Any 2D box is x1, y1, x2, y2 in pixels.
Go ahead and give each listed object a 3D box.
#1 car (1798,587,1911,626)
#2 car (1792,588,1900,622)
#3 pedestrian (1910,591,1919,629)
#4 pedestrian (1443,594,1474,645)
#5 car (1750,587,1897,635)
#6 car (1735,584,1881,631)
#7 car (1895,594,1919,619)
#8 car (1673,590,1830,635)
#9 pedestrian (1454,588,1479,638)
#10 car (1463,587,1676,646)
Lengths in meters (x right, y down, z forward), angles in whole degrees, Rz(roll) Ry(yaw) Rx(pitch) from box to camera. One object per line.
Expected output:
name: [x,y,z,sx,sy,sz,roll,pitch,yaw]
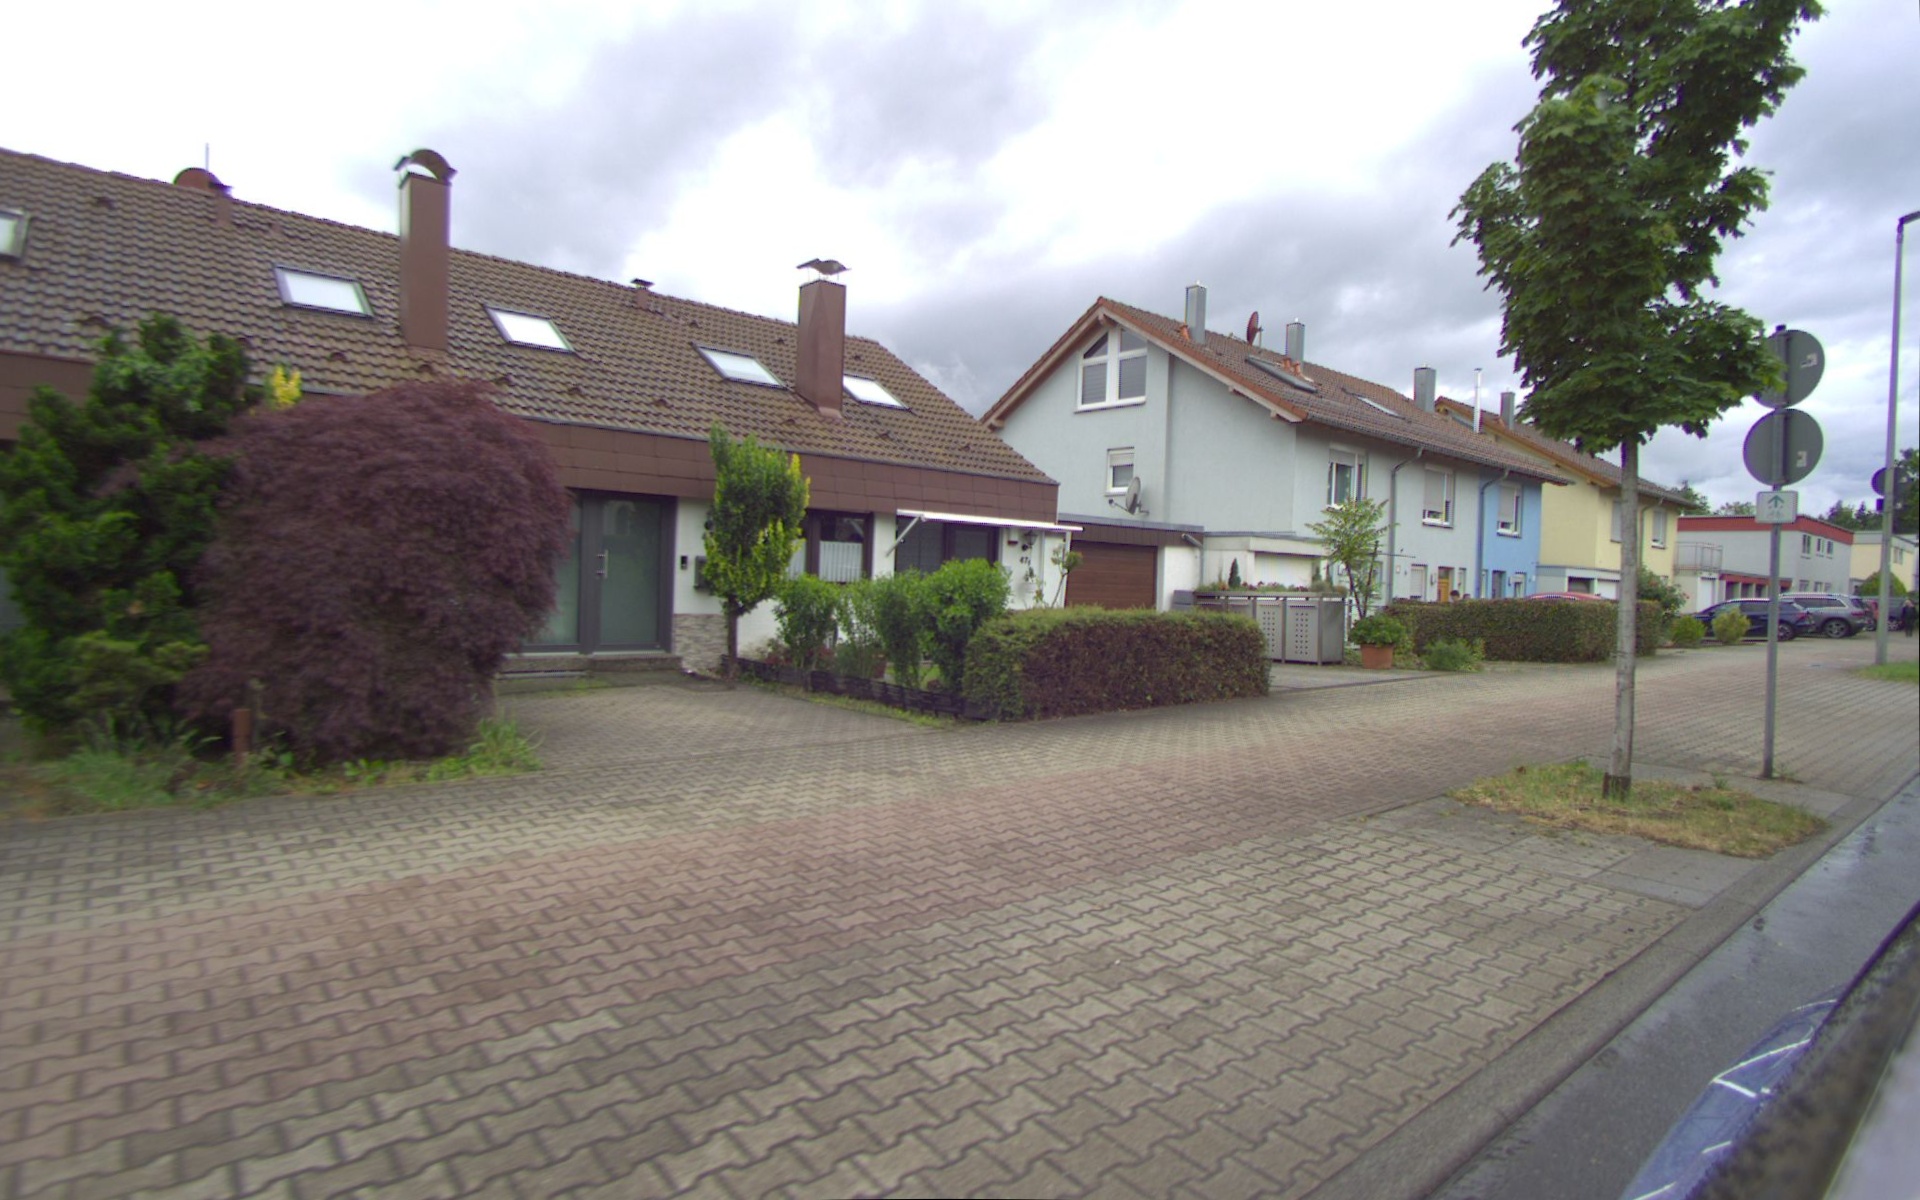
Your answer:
car: [44.218,0.268,50.080,1.891,1.742,3.994,0,2,-41]
car: [42.281,0.204,48.343,1.677,1.459,3.699,0,2,-41]
pedestrian: [40.038,0.427,42.120,0.664,1.577,0.829,2,2,44]
pedestrian: [13.585,0.530,27.592,0.552,1.368,0.498,1,1,-18]
car: [34.549,0.385,40.580,1.956,1.692,4.190,0,2,-39]
car: [32.165,0.266,38.461,4.177,1.693,1.695,0,0,43]
car: [66.509,0.545,69.180,1.733,1.551,3.618,0,5,-43]
car: [26.802,0.455,34.341,1.647,1.405,3.988,3,-4,-44]
pedestrian: [14.031,0.350,28.037,0.534,1.368,0.522,2,1,36]
car: [14.672,0.355,24.459,4.292,1.276,1.657,1,0,37]
